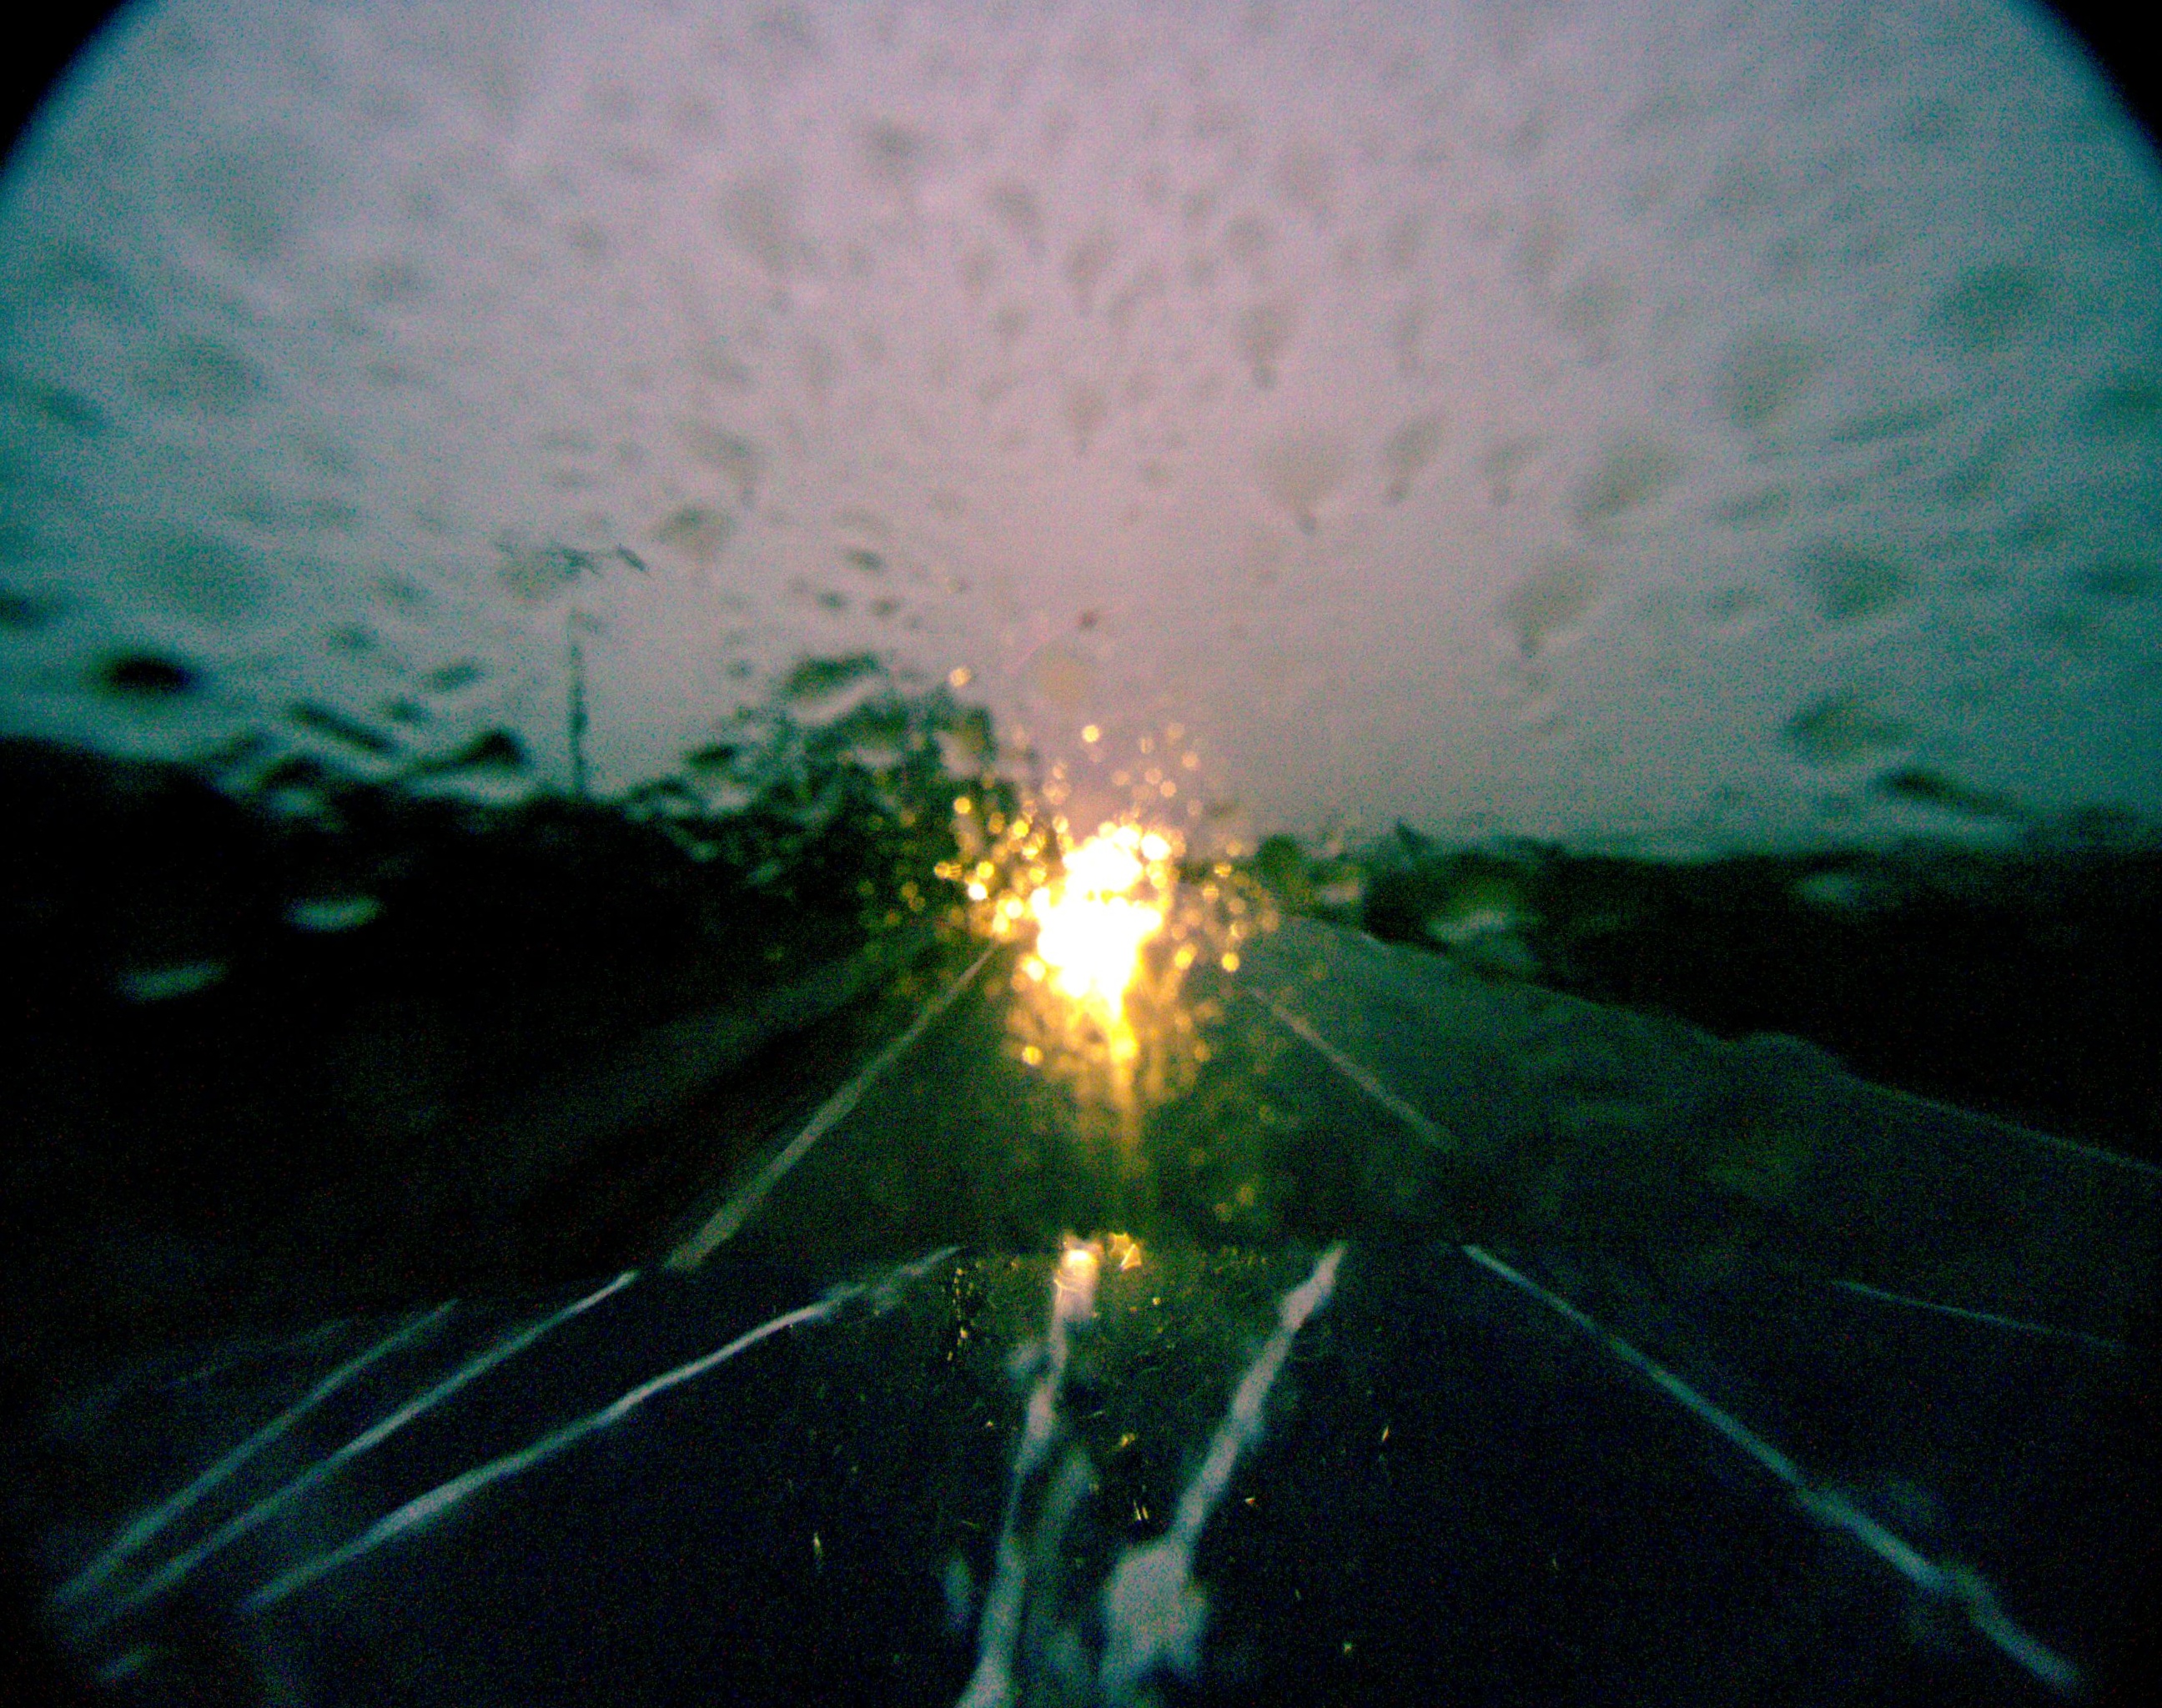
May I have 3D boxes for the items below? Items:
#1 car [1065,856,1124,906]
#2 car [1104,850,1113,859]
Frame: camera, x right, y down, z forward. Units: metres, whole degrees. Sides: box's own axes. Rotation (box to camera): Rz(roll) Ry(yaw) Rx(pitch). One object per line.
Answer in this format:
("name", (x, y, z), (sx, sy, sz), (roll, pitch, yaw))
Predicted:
("car", (0.448, 0.860, 26.192), (1.844, 1.484, 3.956), (-2, 1, 0))
("car", (5.757, 0.093, 159.633), (1.844, 1.711, 3.956), (-2, 1, 0))
